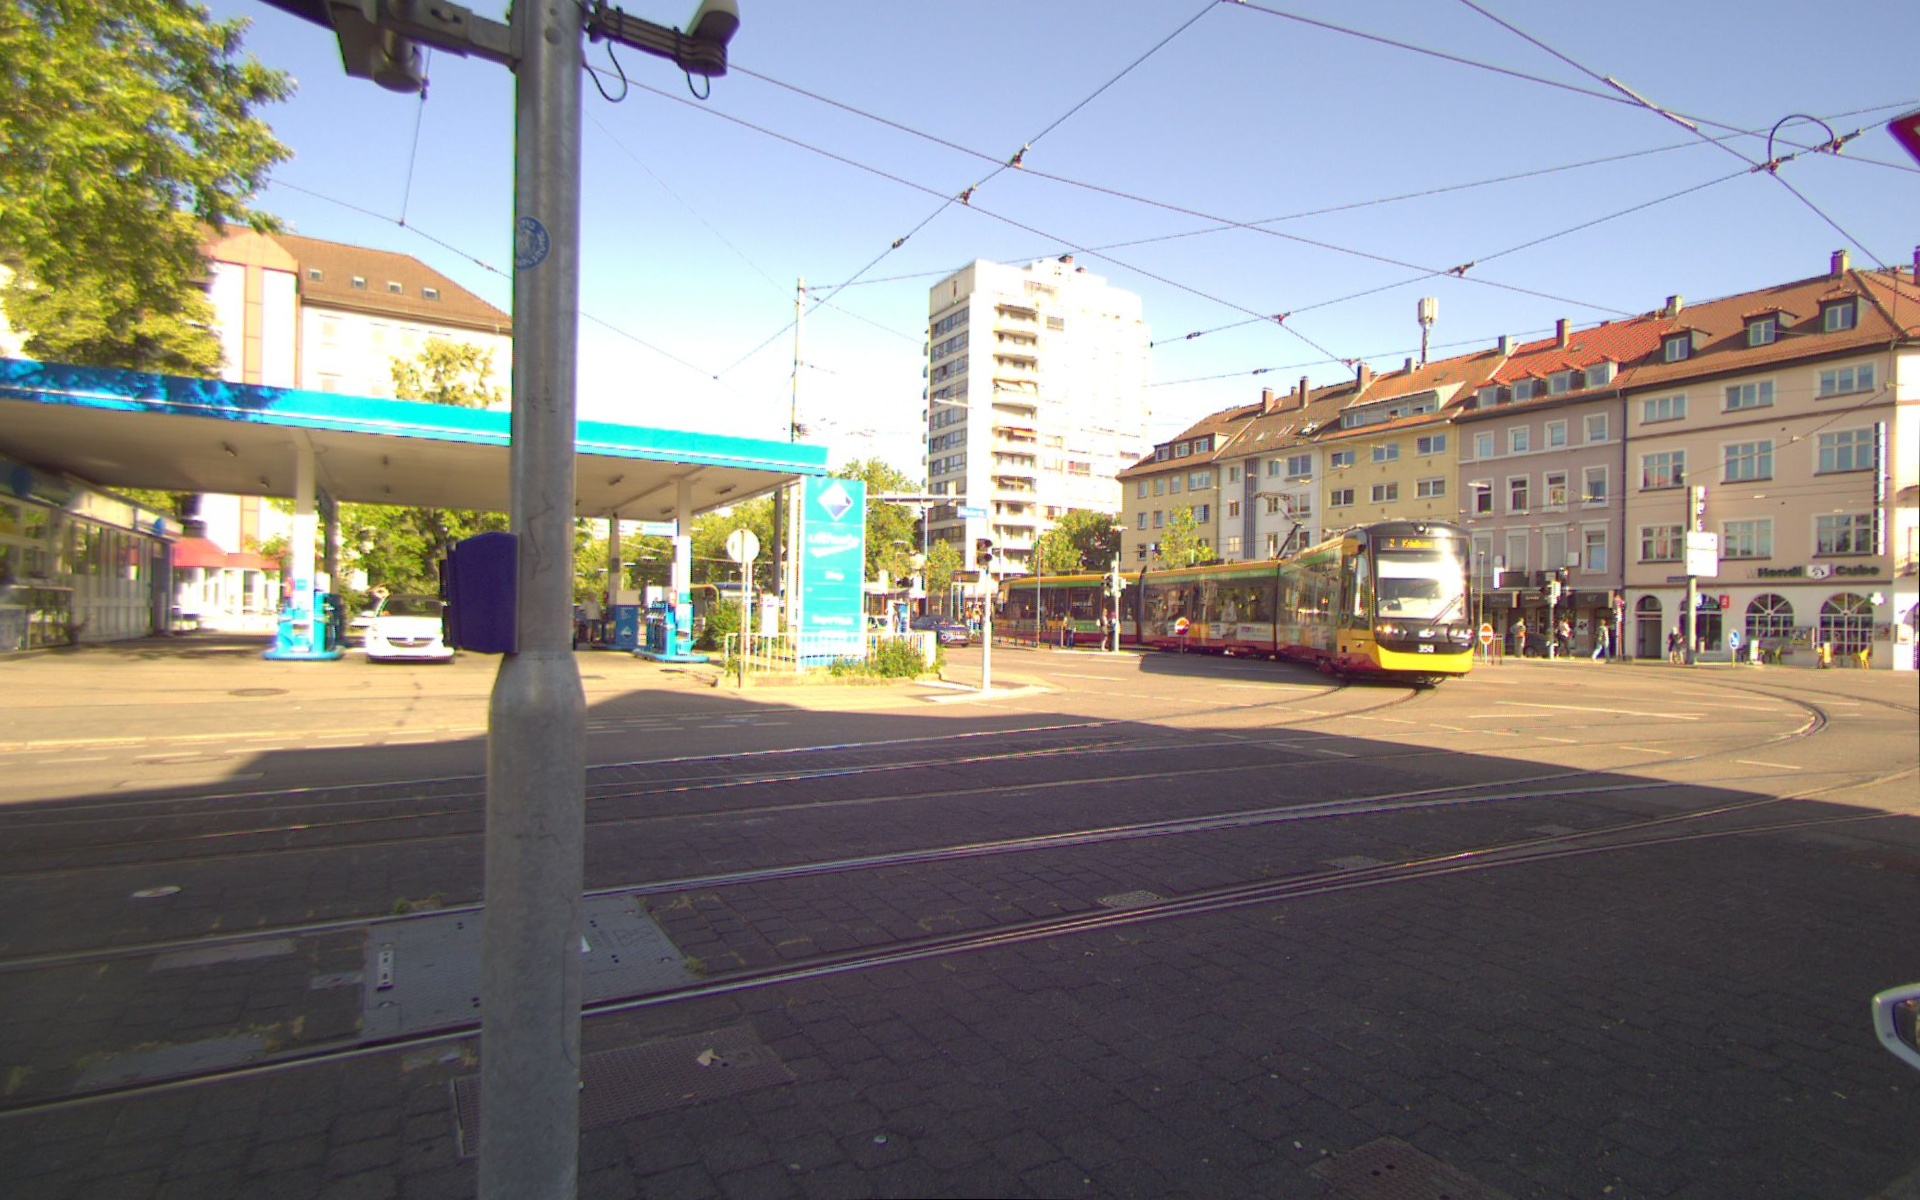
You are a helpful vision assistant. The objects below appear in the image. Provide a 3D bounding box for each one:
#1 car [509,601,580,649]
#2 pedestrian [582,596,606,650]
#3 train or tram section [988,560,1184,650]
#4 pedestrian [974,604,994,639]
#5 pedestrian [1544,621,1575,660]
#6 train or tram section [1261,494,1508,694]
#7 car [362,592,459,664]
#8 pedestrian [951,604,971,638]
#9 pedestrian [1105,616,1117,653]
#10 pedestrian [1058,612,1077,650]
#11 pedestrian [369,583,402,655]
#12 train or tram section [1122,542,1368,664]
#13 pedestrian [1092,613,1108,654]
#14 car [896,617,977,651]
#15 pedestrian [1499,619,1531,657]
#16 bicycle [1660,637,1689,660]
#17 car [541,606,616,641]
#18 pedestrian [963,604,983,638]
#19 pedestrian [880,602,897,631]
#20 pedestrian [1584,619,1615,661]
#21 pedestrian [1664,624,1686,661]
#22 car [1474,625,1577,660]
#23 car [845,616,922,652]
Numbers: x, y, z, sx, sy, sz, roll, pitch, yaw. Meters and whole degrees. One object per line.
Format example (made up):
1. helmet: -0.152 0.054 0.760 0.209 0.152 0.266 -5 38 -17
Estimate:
1. car: -13.555 0.784 32.673 1.737 1.461 3.543 1 -1 -29
2. pedestrian: -11.864 0.754 32.562 0.491 1.724 0.500 0 -1 25
3. train or tram section: 5.724 0.290 49.158 2.907 3.864 12.025 1 -1 -30
4. pedestrian: 1.213 1.058 50.760 0.747 1.756 0.797 0 0 -28
5. pedestrian: 25.148 1.678 42.158 0.821 1.598 0.724 2 0 -20
6. train or tram section: 10.225 -0.013 26.137 2.882 3.864 13.063 1 -1 9
7. car: -12.204 0.604 22.347 1.737 1.461 3.543 1 -1 -29
8. pedestrian: 0.052 1.090 52.740 0.747 1.756 0.797 0 0 -28
9. pedestrian: 6.146 1.407 40.963 0.472 1.525 0.462 0 0 6
10. pedestrian: 4.662 1.344 43.586 0.603 1.598 0.832 0 0 -7
11. pedestrian: -14.049 0.470 24.568 0.640 1.724 0.497 1 -1 -26
12. train or tram section: 10.168 0.199 38.267 2.892 3.864 12.782 1 -1 -15
13. pedestrian: 5.849 1.394 41.962 0.626 1.666 0.462 0 0 6
14. car: -1.168 1.618 48.364 1.875 1.550 3.955 1 -2 -39
15. pedestrian: 24.384 1.671 44.128 0.821 1.598 0.847 2 0 -20
16. bicycle: 34.116 2.321 47.958 1.479 1.091 0.570 2 0 -30
17. car: -16.868 1.042 44.598 1.722 1.461 3.572 1 -1 5
18. pedestrian: 0.687 1.110 52.964 0.747 1.756 0.797 0 0 -28
19. pedestrian: -4.352 0.999 60.981 0.747 1.756 0.797 0 0 -28
20. pedestrian: 24.821 1.548 38.999 0.817 1.598 0.552 2 0 -2
21. pedestrian: 34.138 2.025 47.965 0.743 1.692 0.579 2 0 -30
22. car: 30.818 2.295 54.842 2.277 1.734 4.350 2 0 -27
23. car: -3.594 1.554 46.734 1.871 1.550 3.963 1 -1 -33
